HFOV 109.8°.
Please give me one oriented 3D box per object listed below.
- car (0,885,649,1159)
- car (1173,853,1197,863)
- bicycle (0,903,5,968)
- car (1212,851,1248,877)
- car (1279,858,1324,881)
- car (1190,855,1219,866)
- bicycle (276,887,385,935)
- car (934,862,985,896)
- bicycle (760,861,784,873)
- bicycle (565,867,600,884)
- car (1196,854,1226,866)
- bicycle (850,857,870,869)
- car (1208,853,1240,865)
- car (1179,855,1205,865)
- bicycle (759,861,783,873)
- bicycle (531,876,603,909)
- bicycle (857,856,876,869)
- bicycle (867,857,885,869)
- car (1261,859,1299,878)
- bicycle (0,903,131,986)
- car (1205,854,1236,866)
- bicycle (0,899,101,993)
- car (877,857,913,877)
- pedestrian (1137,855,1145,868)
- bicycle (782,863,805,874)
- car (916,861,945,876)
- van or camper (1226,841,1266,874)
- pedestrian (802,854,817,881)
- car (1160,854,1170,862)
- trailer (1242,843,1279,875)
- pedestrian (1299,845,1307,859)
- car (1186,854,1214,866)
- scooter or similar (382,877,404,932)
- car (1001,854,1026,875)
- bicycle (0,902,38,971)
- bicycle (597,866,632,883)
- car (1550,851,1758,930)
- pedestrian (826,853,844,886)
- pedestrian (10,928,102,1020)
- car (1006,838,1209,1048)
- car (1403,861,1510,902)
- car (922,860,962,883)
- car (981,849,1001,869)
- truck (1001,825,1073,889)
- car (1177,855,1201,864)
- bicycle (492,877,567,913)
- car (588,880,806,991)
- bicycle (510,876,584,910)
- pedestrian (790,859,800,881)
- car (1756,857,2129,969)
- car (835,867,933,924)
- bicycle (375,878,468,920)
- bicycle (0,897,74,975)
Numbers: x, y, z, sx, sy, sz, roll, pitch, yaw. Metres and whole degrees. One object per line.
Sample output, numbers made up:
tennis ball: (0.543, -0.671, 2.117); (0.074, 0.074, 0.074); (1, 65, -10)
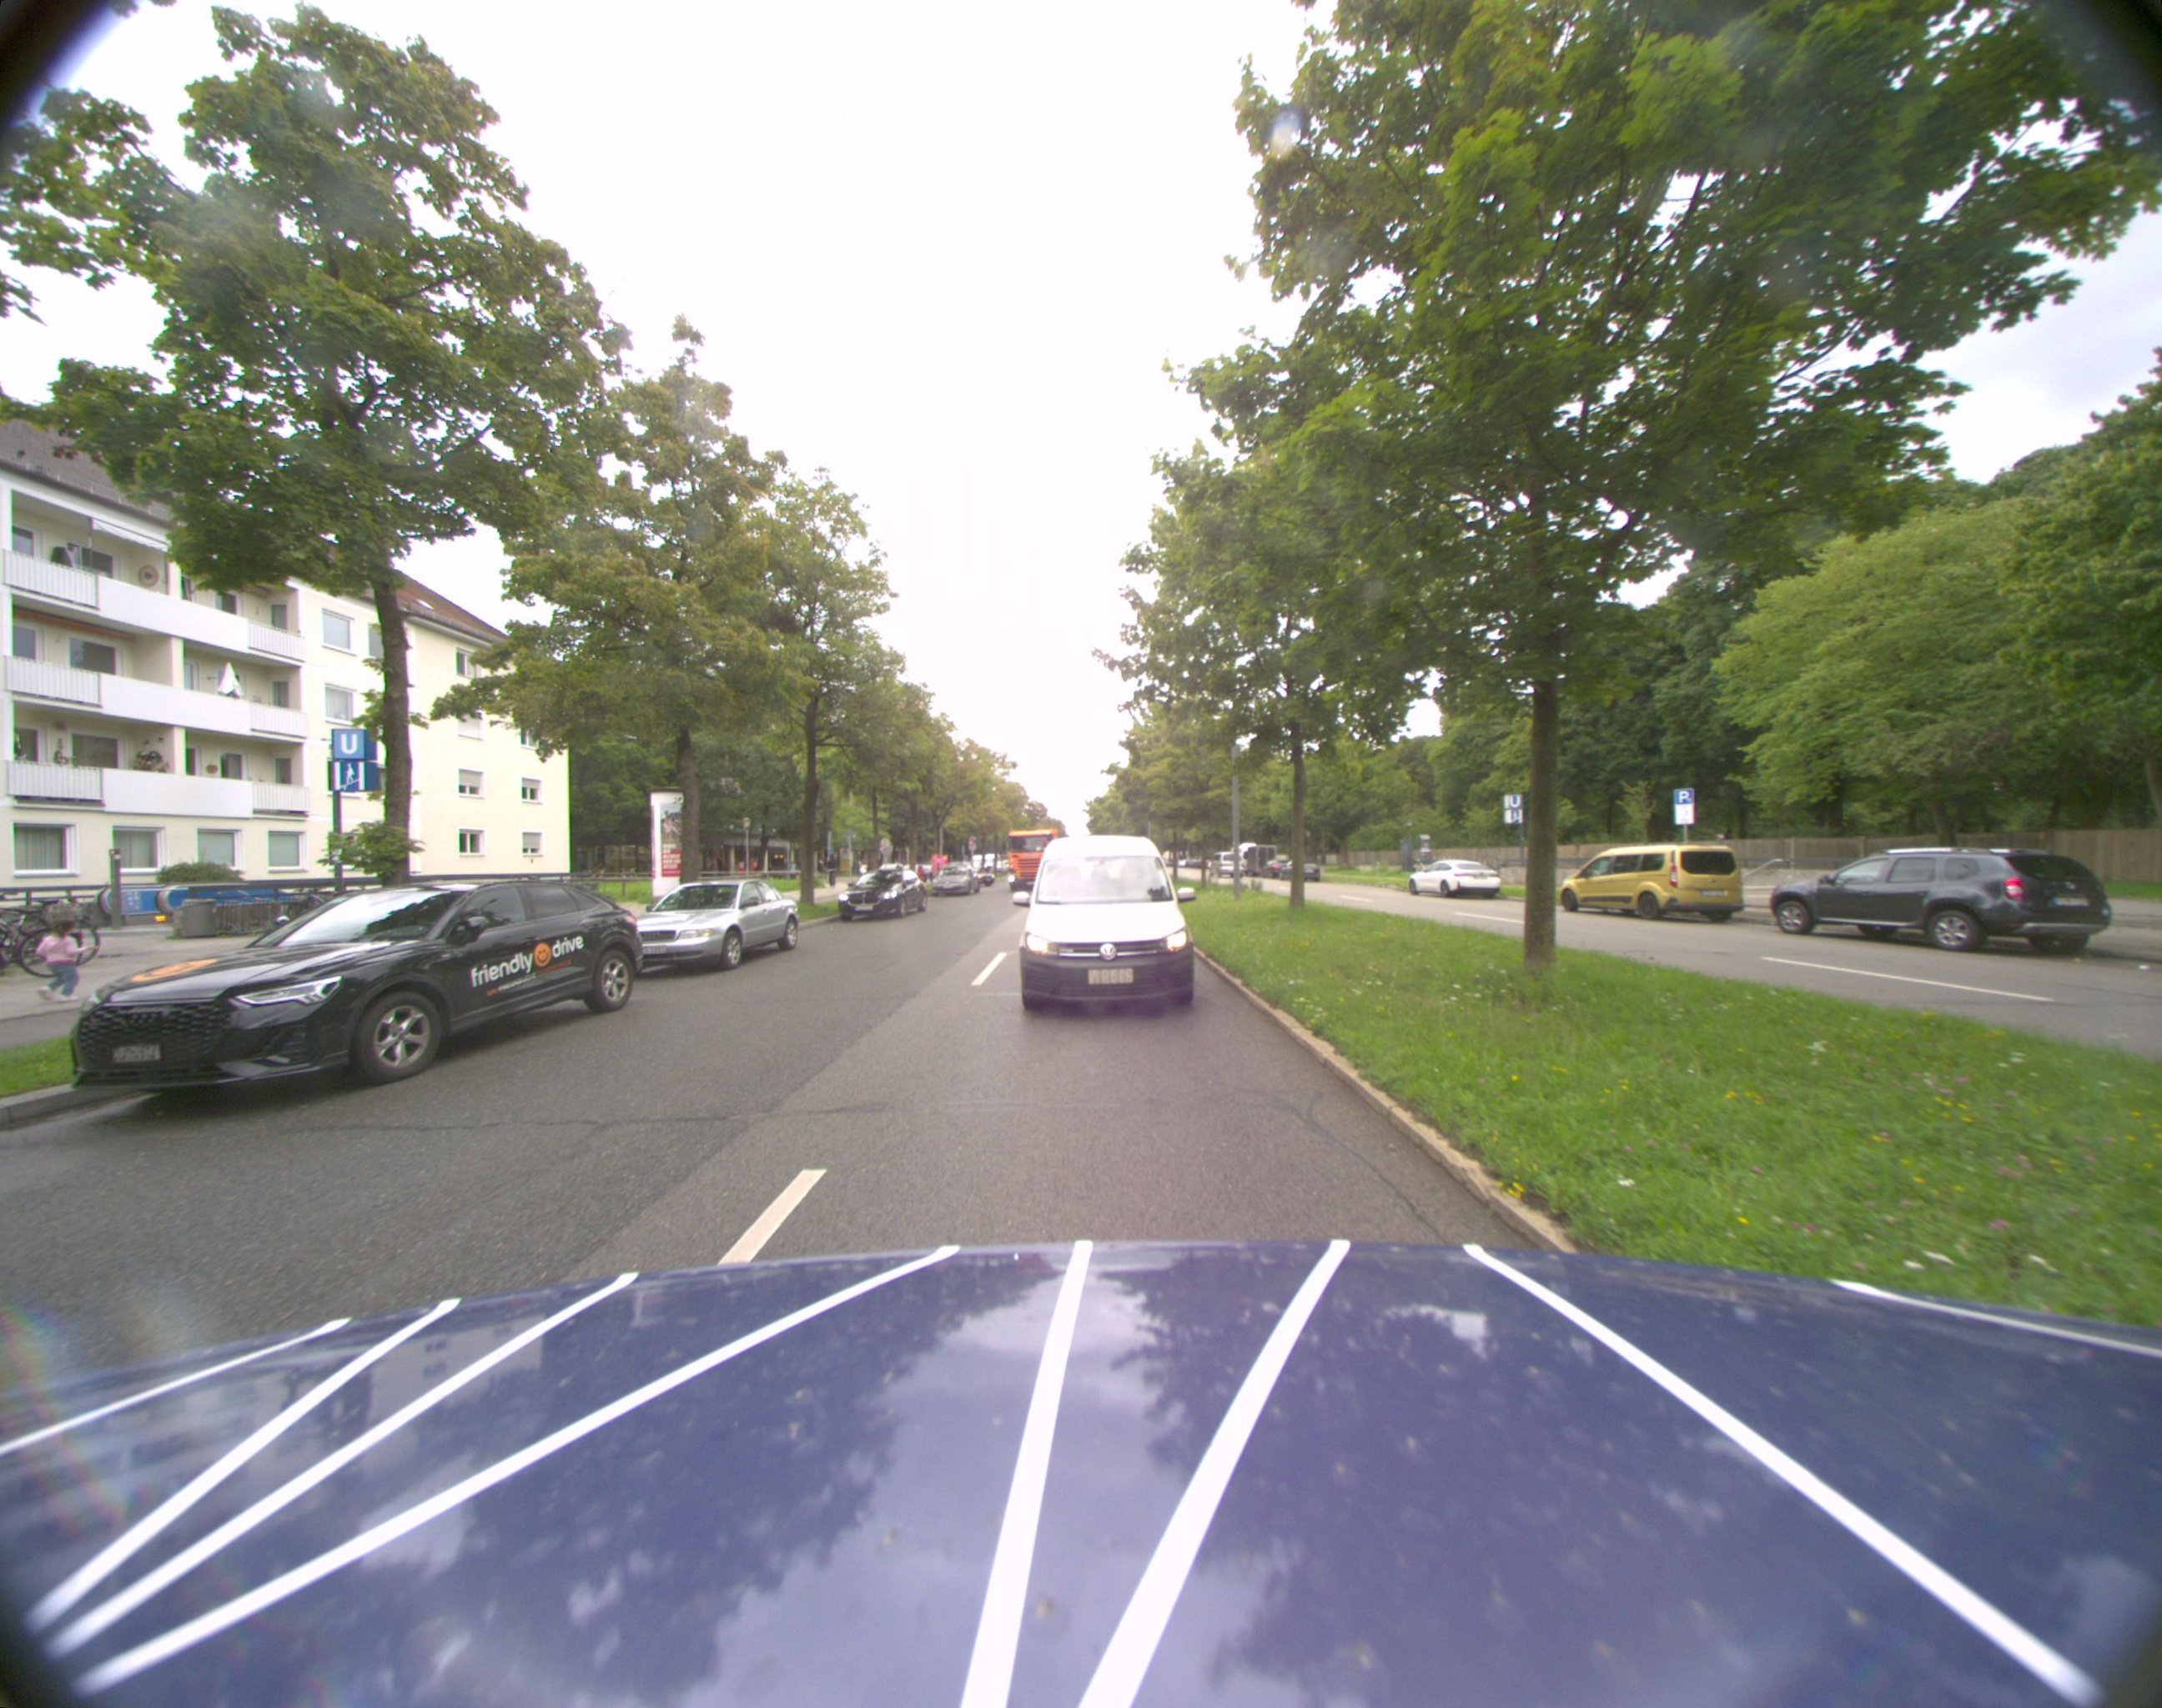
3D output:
car: (-6.104, 1.166, 6.994); (1.721, 1.524, 4.275); (-2, 0, 1)
car: (19.065, 0.763, 139.161); (4.006, 1.718, 1.777); (-2, 1, -34)
bicycle: (-17.144, 1.274, 10.991); (0.432, 1.022, 1.884); (0, 0, 1)
car: (11.647, 0.725, 59.784); (1.804, 1.922, 4.993); (0, 0, 0)
car: (14.846, 1.020, 51.338); (1.804, 1.417, 4.431); (1, 0, 1)
car: (19.049, 0.997, 117.342); (4.006, 1.548, 1.887); (-3, -1, -32)
bicycle: (-16.430, 1.238, 16.643); (1.882, 1.022, 0.432); (0, 1, -2)
car: (-5.897, 1.193, 37.268); (1.686, 1.457, 4.115); (-2, 0, 2)
bicycle: (-28.998, 1.199, 71.368); (2.080, 1.114, 0.455); (-1, 0, 0)
bicycle: (-28.612, 1.242, 43.622); (1.696, 0.965, 0.455); (0, 0, -3)
car: (19.041, 0.847, 111.119); (4.005, 1.548, 1.888); (-3, 0, -27)
bicycle: (-28.600, 1.210, 98.363); (2.313, 1.523, 0.649); (-1, 0, 0)
car: (19.737, 0.676, 105.075); (4.005, 1.455, 1.888); (-3, 0, -27)
car: (18.873, 1.040, 129.286); (4.006, 1.548, 1.887); (-3, -1, -32)
bicycle: (-29.379, 1.258, 71.973); (2.080, 1.114, 0.455); (-1, 0, 0)
bicycle: (-16.319, 1.216, 24.132); (1.883, 1.022, 0.432); (0, 1, -7)
bicycle: (-28.306, 1.142, 100.474); (2.313, 1.613, 0.649); (-1, 0, 0)
bicycle: (-28.387, 1.223, 105.236); (2.316, 1.613, 0.648); (-1, 0, -16)
car: (15.093, 1.066, 57.697); (1.804, 1.376, 4.238); (1, 0, 1)
bicycle: (-14.664, 1.251, 10.591); (0.432, 1.022, 1.884); (0, 0, 1)
car: (19.823, 0.813, 108.124); (4.005, 1.446, 1.737); (-3, 0, -27)
bicycle: (-13.779, 1.179, 9.557); (0.432, 1.127, 1.884); (0, 0, 1)
car: (-15.756, 1.113, 64.510); (1.826, 1.624, 4.198); (0, 0, 3)
pedestrian: (7.938, 0.987, 100.325); (0.872, 1.689, 0.771); (0, 2, 21)
bicycle: (-28.398, 1.424, 74.959); (2.080, 1.114, 0.455); (-1, 0, 0)
car: (-15.436, 1.459, 78.200); (1.826, 1.522, 4.603); (0, 0, 2)
van or camper: (15.035, 0.299, 69.718); (2.040, 2.821, 7.547); (1, 0, 1)
pedestrian: (-17.866, 0.879, 50.023); (0.642, 1.720, 0.599); (-3, 1, -44)
car: (17.962, 0.856, 162.226); (1.889, 1.435, 4.170); (-2, 0, 5)
trailer: (14.948, 0.392, 63.595); (2.022, 2.575, 4.659); (1, 0, 1)
pedestrian: (27.623, -0.221, 94.495); (0.770, 1.757, 0.874); (0, 1, -3)
car: (18.901, 0.963, 120.272); (4.006, 1.548, 1.887); (-3, -1, -32)
scooter or similar: (-15.815, 1.142, 17.480); (0.359, 1.193, 1.386); (-1, 1, -42)
car: (-6.616, 0.983, 75.031); (1.886, 1.916, 4.933); (-2, 0, 0)
bicycle: (-16.594, 1.257, 10.971); (0.432, 1.022, 1.884); (0, 0, 1)
bicycle: (-26.828, 1.190, 43.748); (1.696, 0.965, 0.455); (0, 0, -3)
car: (14.496, 0.840, 19.668); (1.819, 1.772, 4.818); (1, 0, 2)
pedestrian: (-12.821, 0.805, 39.644); (0.641, 1.739, 0.849); (1, 0, -1)
pedestrian: (-11.355, 1.319, 8.426); (0.408, 0.944, 0.435); (0, 1, -1)
car: (0.215, 0.779, 8.921); (1.750, 1.807, 4.667); (0, 0, 0)
car: (14.867, 1.053, 30.423); (1.861, 1.464, 4.875); (1, 0, 0)
car: (-9.486, 1.187, 52.227); (1.726, 1.371, 4.352); (-2, 0, 2)
car: (-13.022, 0.713, 110.547); (1.978, 2.641, 6.006); (-2, 0, 0)
truck: (-2.289, 0.140, 43.040); (3.046, 3.170, 9.134); (-2, 0, 3)
car: (18.870, 0.927, 132.543); (4.006, 1.358, 1.588); (-2, 1, -30)
bicycle: (-16.479, 1.222, 22.710); (1.882, 1.022, 0.432); (0, 1, -2)
car: (-6.215, 1.235, 12.917); (1.640, 1.377, 4.243); (-2, 0, -2)
bicycle: (-16.557, 1.190, 23.574); (1.883, 1.022, 0.432); (0, 1, -5)
pedestrian: (-21.043, 1.193, 55.862); (0.581, 1.565, 0.780); (-2, 1, -25)
car: (14.696, 0.891, 13.422); (1.741, 1.636, 4.255); (1, 0, 0)
car: (-5.885, 1.197, 23.253); (1.755, 1.457, 4.176); (-2, 0, 2)
bicycle: (-16.531, 1.125, 19.055); (1.882, 1.022, 0.432); (0, 1, -2)
bicycle: (-15.892, 1.209, 10.868); (0.432, 1.095, 1.884); (0, 0, 1)
